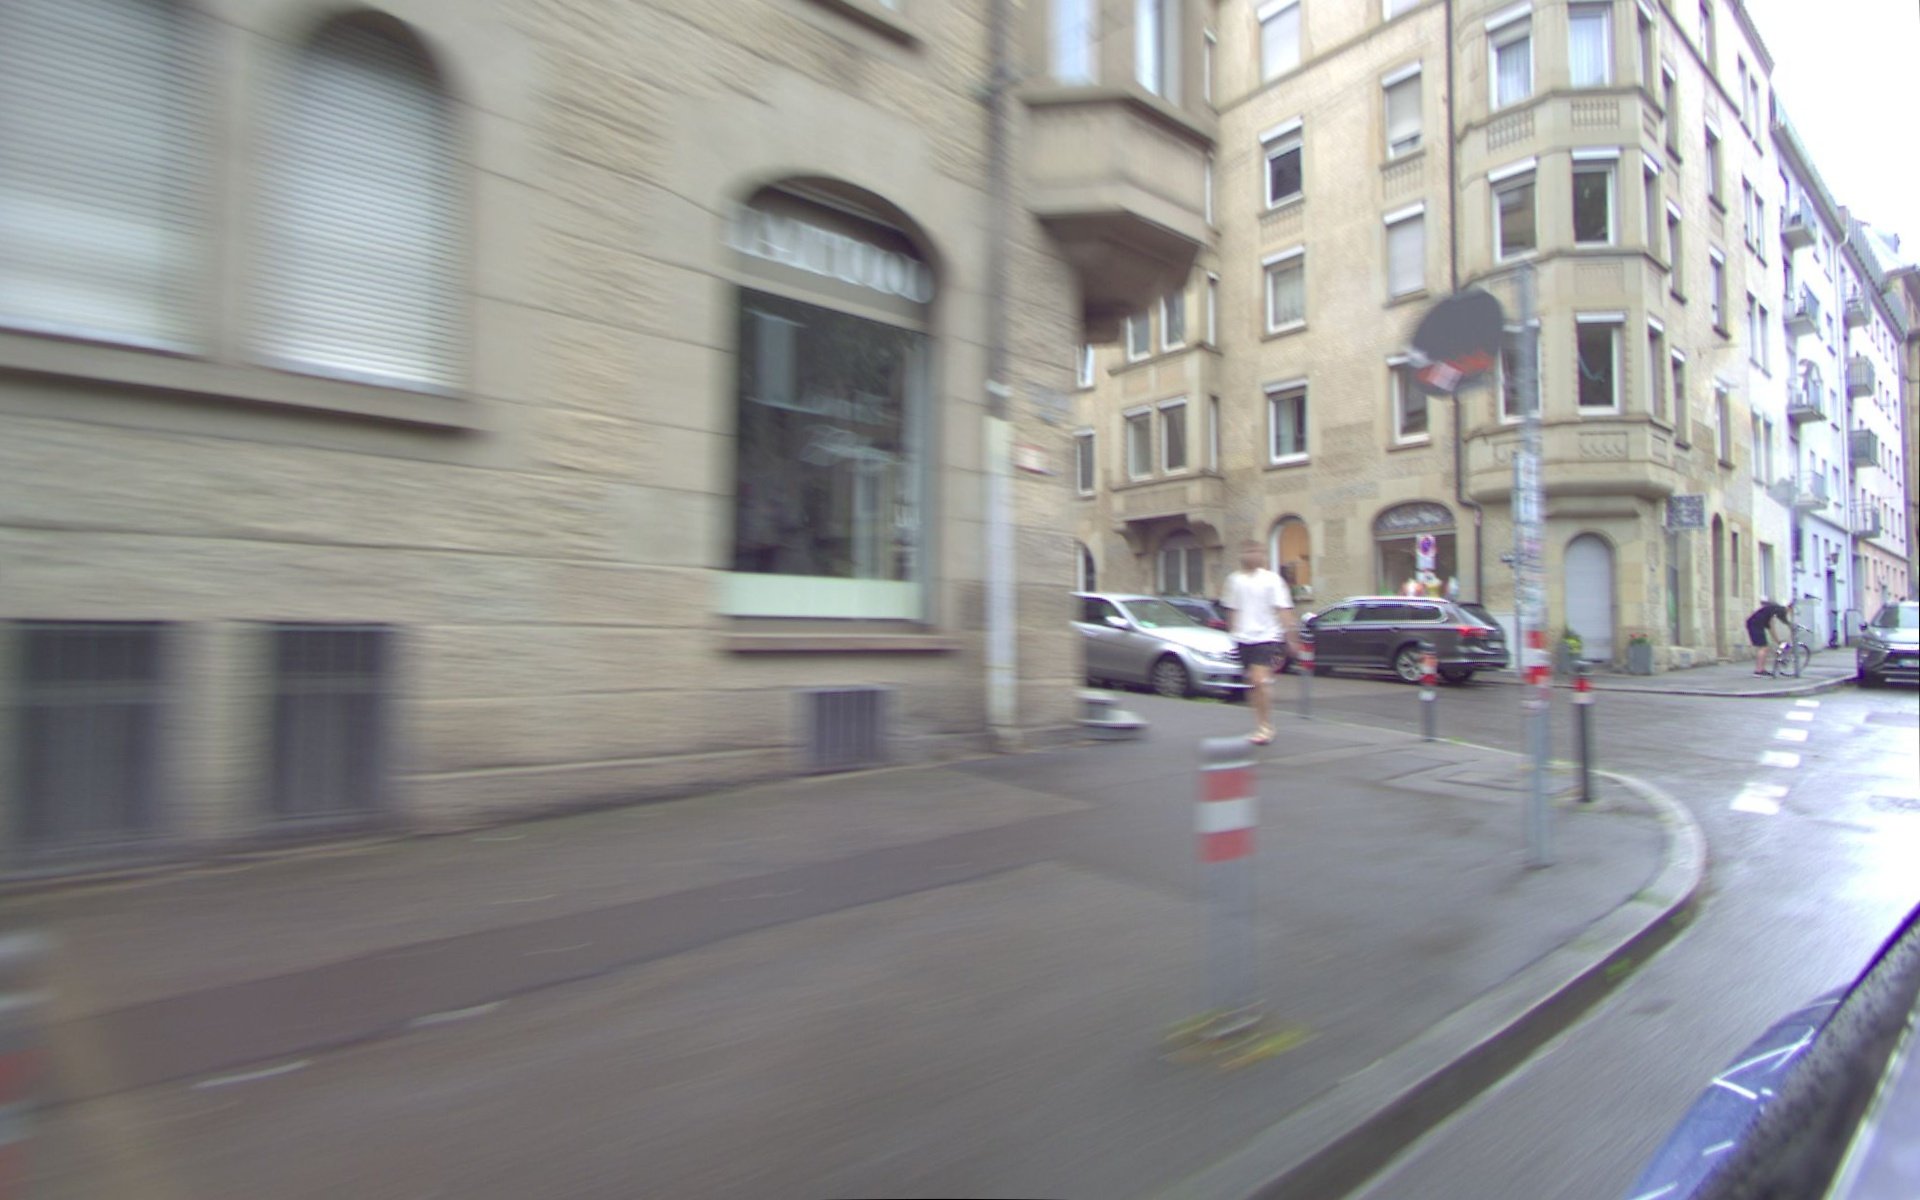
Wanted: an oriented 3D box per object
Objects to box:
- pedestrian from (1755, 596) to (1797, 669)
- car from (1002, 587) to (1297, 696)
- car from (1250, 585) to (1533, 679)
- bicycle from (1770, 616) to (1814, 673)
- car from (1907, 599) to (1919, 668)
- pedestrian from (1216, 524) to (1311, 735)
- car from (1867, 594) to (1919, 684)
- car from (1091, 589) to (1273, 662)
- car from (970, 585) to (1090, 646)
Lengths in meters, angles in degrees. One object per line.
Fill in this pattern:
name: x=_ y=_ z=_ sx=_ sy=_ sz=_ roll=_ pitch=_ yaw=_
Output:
pedestrian: x=15.599 y=0.616 z=19.358 sx=0.504 sy=1.388 sz=0.402 roll=-1 pitch=-1 yaw=23
car: x=2.666 y=0.516 z=15.088 sx=1.765 sy=1.386 sz=4.215 roll=1 pitch=0 yaw=-38
car: x=7.787 y=0.555 z=18.652 sx=1.746 sy=1.519 sz=4.506 roll=3 pitch=-2 yaw=-38
bicycle: x=15.850 y=0.833 z=19.263 sx=1.645 sy=1.027 sz=0.339 roll=1 pitch=0 yaw=-40
car: x=23.334 y=0.752 z=23.363 sx=3.930 sy=1.536 sz=1.744 roll=0 pitch=-1 yaw=-41
pedestrian: x=2.664 y=0.251 z=8.894 sx=0.564 sy=1.774 sz=0.579 roll=2 pitch=-2 yaw=-40
car: x=18.753 y=0.709 z=19.303 sx=3.931 sy=1.606 sz=1.743 roll=0 pitch=-1 yaw=-42
car: x=4.875 y=0.548 z=22.629 sx=1.582 sy=1.468 sz=3.844 roll=3 pitch=-2 yaw=-38
car: x=1.792 y=0.398 z=26.589 sx=1.451 sy=1.461 sz=3.040 roll=3 pitch=-2 yaw=-38
